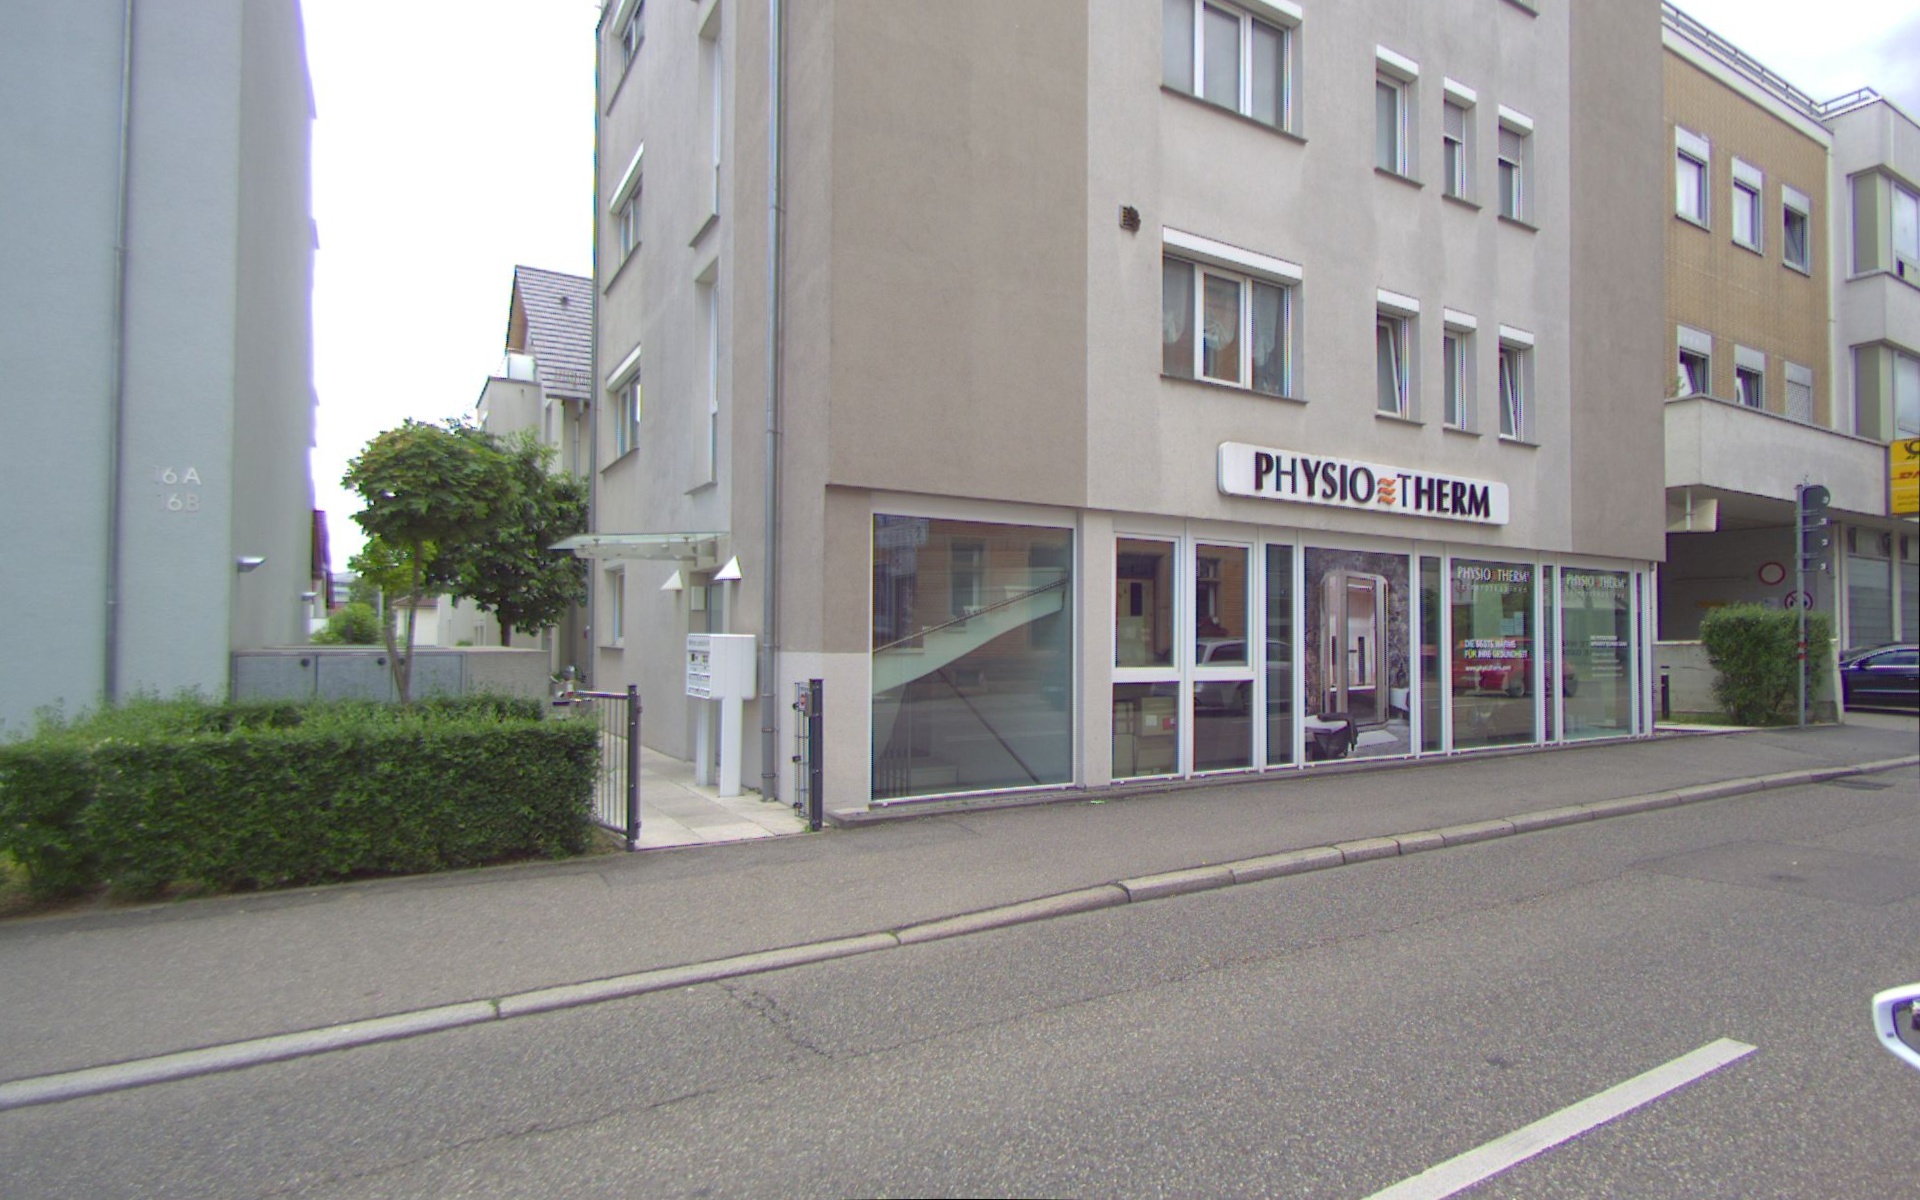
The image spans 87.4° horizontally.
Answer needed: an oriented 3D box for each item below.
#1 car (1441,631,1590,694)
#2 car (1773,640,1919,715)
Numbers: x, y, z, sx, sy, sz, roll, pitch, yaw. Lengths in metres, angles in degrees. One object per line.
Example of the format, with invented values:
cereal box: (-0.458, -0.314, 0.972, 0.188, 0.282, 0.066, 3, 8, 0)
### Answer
car: (14.306, 1.571, 25.858, 3.647, 1.476, 1.745, 2, 0, -30)
car: (18.882, 1.514, 19.696, 4.335, 1.384, 1.782, -1, -2, 31)
